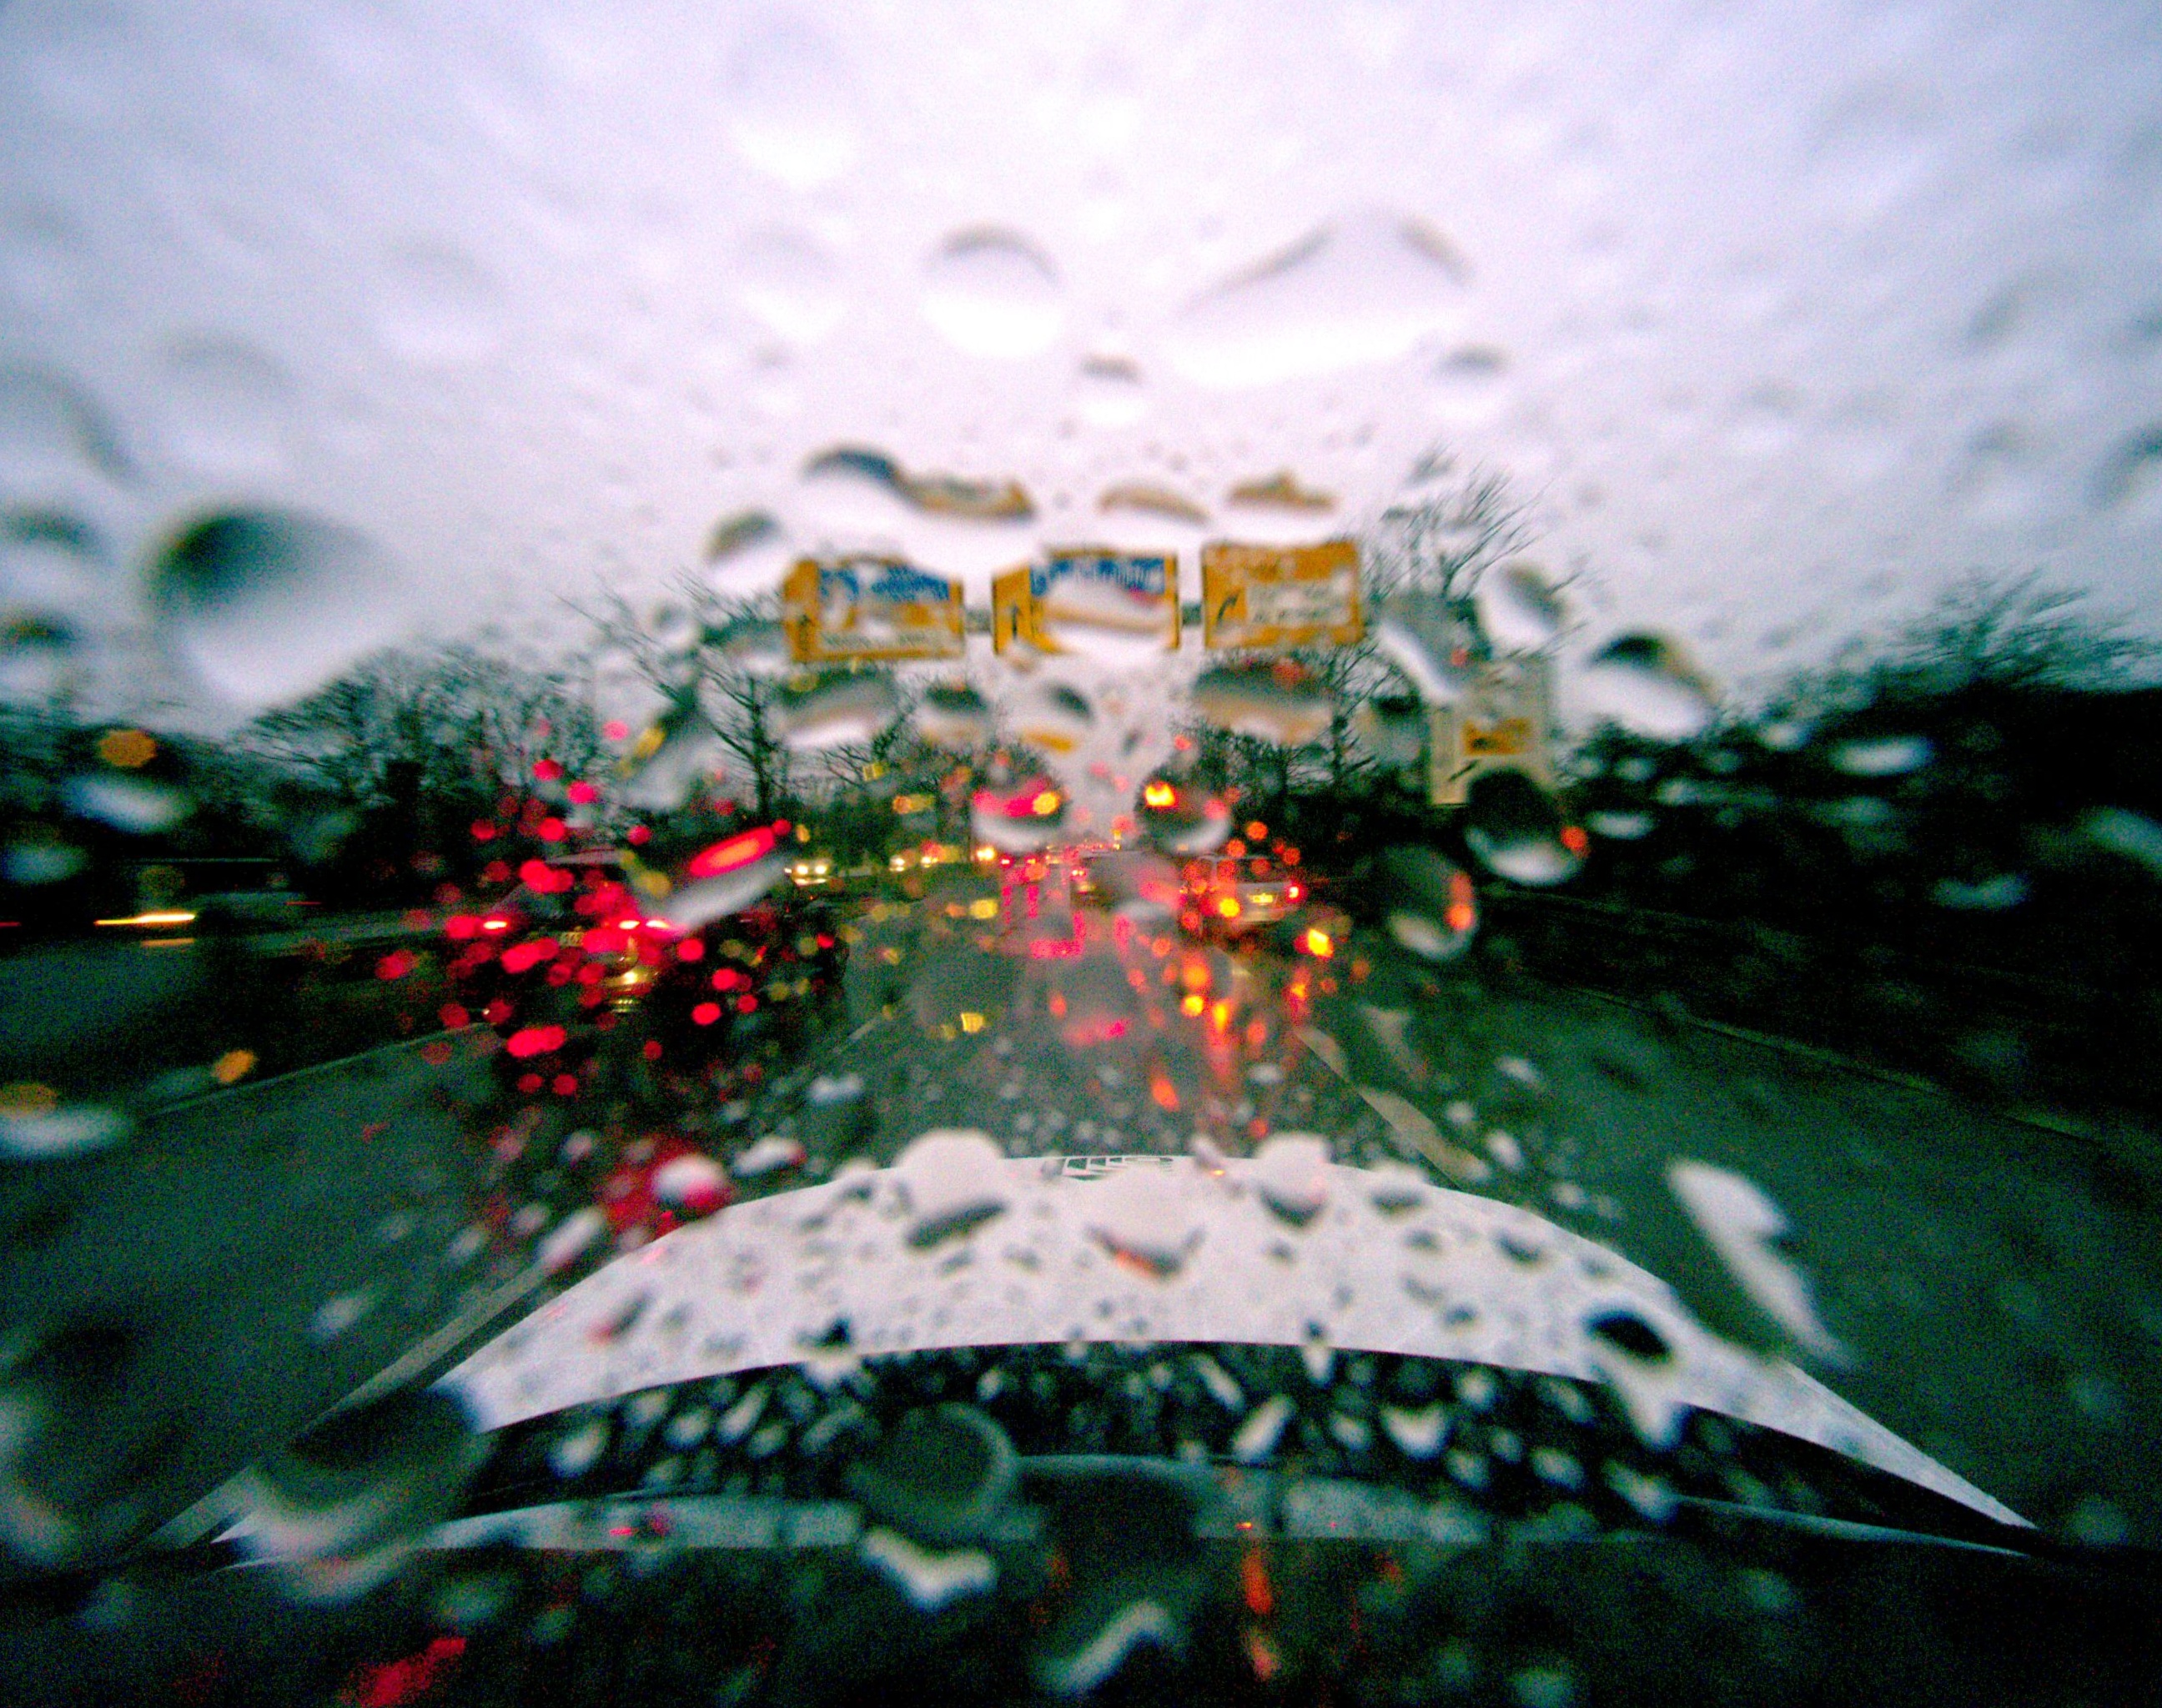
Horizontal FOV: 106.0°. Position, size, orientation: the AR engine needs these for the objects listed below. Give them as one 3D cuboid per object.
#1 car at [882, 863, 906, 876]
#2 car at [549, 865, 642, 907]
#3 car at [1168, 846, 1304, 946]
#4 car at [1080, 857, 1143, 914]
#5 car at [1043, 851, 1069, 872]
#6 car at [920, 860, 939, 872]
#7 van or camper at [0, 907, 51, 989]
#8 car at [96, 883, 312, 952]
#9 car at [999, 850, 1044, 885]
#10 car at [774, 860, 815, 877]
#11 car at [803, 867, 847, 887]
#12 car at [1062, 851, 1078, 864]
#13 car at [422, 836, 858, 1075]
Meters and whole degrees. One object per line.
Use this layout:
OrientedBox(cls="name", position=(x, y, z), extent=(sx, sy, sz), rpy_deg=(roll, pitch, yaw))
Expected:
OrientedBox(cls="car", position=(-22.126, 1.845, 96.523), extent=(1.744, 1.482, 4.200), rpy_deg=(-1, 0, 3))
OrientedBox(cls="car", position=(-20.565, 1.325, 34.636), extent=(1.779, 1.627, 3.574), rpy_deg=(-1, 0, 0))
OrientedBox(cls="car", position=(2.811, 0.725, 15.783), extent=(1.926, 1.648, 4.468), rpy_deg=(0, -1, 2))
OrientedBox(cls="car", position=(0.948, 0.955, 25.876), extent=(1.815, 1.648, 4.468), rpy_deg=(0, -1, 2))
OrientedBox(cls="car", position=(-2.079, 0.597, 68.587), extent=(1.815, 1.648, 4.001), rpy_deg=(-2, 0, 2))
OrientedBox(cls="car", position=(-18.267, 1.423, 98.486), extent=(1.633, 1.339, 3.998), rpy_deg=(-1, 0, -1))
OrientedBox(cls="van or camper", position=(-20.664, 1.737, 12.963), extent=(1.897, 1.446, 5.159), rpy_deg=(-1, 0, 1))
OrientedBox(cls="car", position=(-27.745, 1.943, 26.021), extent=(1.985, 1.851, 4.429), rpy_deg=(-1, 0, 2))
OrientedBox(cls="car", position=(-2.947, 0.661, 41.245), extent=(1.815, 1.648, 4.001), rpy_deg=(-2, 0, 2))
OrientedBox(cls="car", position=(-23.431, 1.180, 66.800), extent=(1.745, 1.308, 4.316), rpy_deg=(-1, 0, 1))
OrientedBox(cls="car", position=(-18.834, 1.665, 60.146), extent=(1.745, 1.308, 4.316), rpy_deg=(-1, 0, 1))
OrientedBox(cls="car", position=(-1.173, 0.385, 89.545), extent=(1.499, 1.339, 4.001), rpy_deg=(-2, 0, 2))
OrientedBox(cls="car", position=(-3.768, 0.738, 8.056), extent=(1.816, 1.648, 4.466), rpy_deg=(-2, 0, 0))
